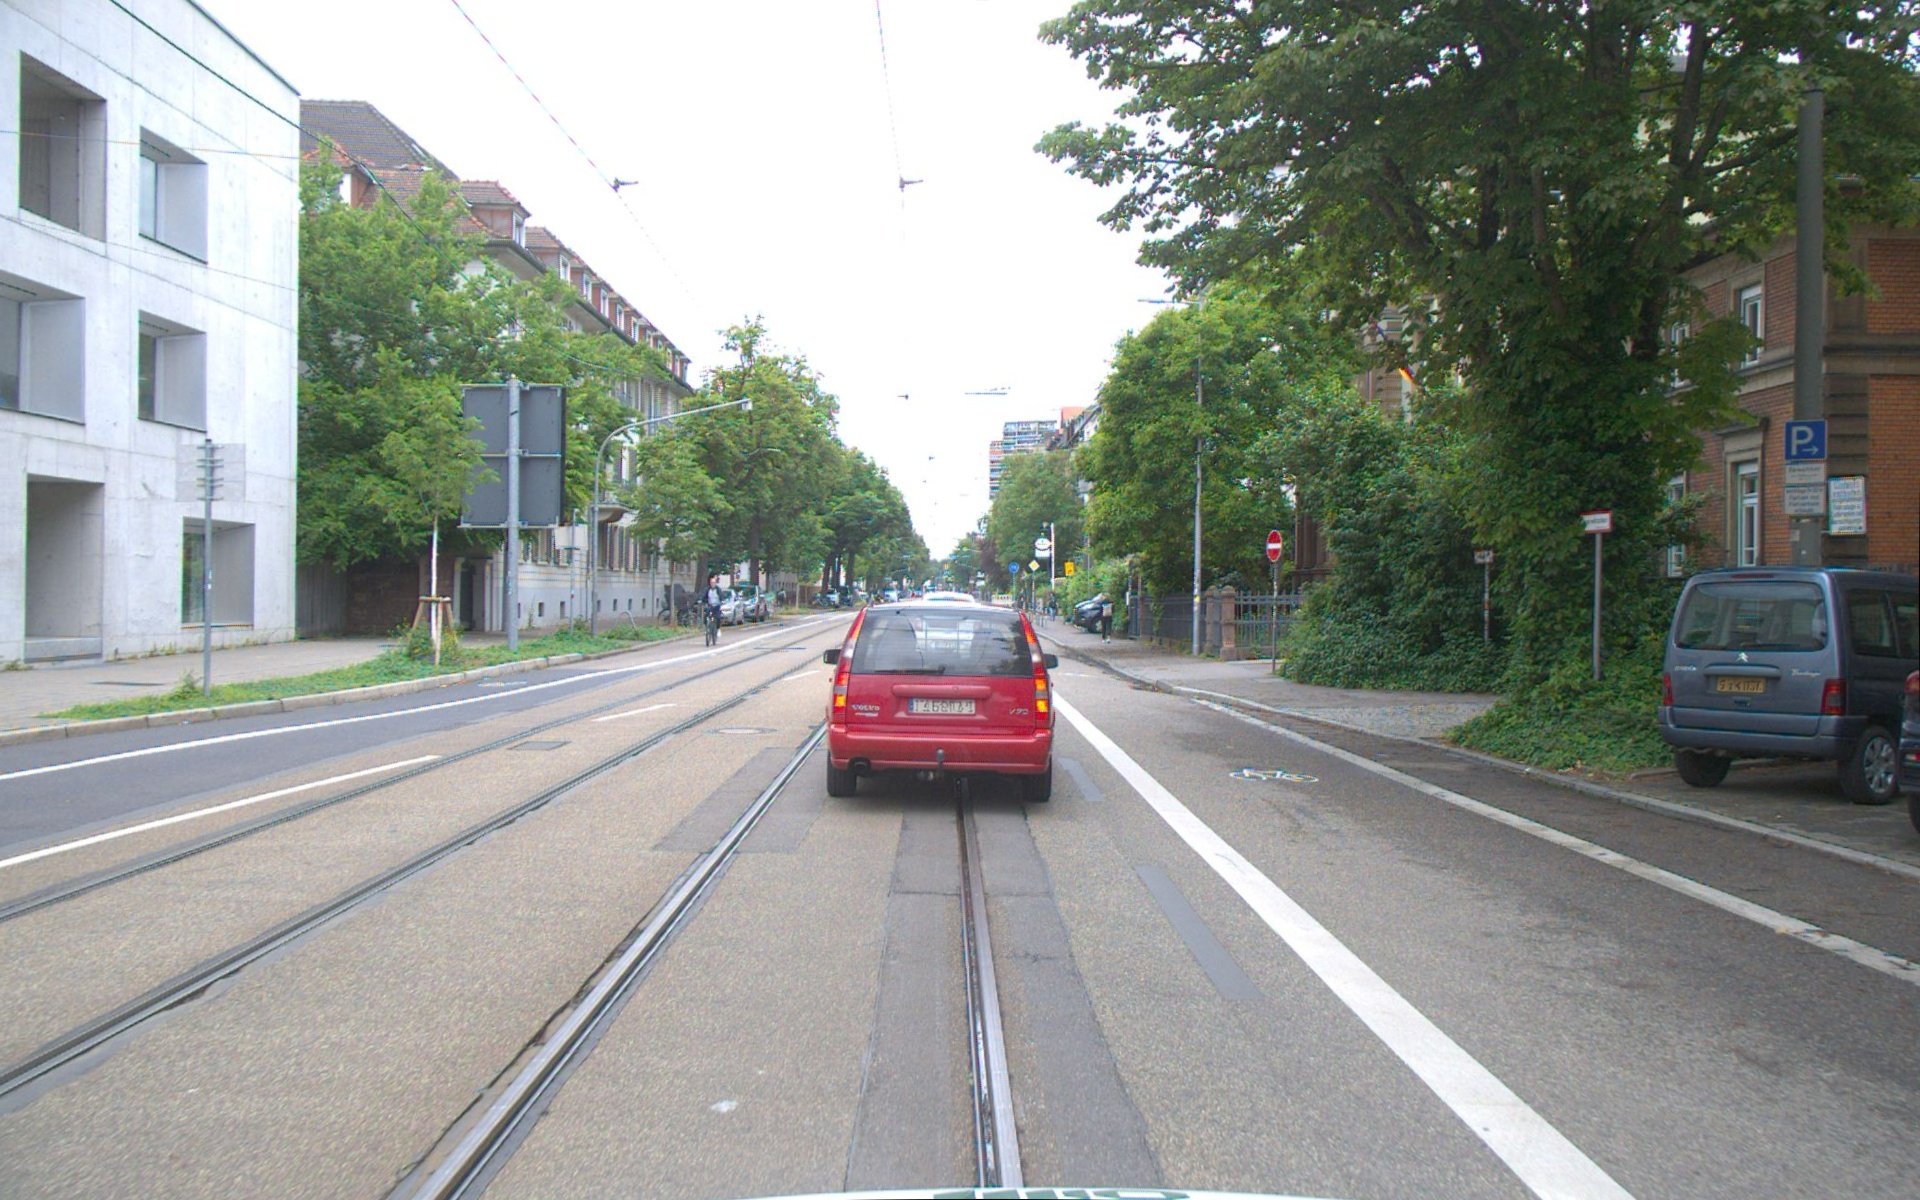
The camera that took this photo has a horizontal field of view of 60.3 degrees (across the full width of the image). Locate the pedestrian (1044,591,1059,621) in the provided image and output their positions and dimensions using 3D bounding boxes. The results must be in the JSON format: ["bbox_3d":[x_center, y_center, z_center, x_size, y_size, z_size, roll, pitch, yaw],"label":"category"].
[{"bbox_3d":[5.168,0.321,93.582,0.777,1.665,0.836,1,0,-1],"label":"pedestrian"}]

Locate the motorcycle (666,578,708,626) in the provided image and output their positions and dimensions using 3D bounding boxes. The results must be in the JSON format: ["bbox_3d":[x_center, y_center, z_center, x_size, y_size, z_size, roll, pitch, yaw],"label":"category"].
[{"bbox_3d":[-9.838,0.056,59.709,0.815,1.672,2.482,1,0,7],"label":"motorcycle"}]

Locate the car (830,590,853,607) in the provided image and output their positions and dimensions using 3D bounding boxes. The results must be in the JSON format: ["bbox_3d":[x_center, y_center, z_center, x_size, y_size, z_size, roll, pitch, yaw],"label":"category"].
[{"bbox_3d":[-10.967,-0.142,153.016,1.741,1.537,4.237,1,0,0],"label":"car"}]

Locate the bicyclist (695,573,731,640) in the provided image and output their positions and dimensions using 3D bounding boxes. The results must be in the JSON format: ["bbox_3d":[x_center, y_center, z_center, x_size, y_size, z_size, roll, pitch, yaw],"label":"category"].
[{"bbox_3d":[-6.856,0.176,45.954,0.775,1.815,1.147,-1,0,-1],"label":"bicyclist"}]

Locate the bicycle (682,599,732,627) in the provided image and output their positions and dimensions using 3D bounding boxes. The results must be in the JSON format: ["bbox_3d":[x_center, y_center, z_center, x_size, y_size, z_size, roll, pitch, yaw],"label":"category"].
[{"bbox_3d":[-9.708,0.497,63.588,1.857,1.045,0.563,1,0,-5],"label":"bicycle"}]

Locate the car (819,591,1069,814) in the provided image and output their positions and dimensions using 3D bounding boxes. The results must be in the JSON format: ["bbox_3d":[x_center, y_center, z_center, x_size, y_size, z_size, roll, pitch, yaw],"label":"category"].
[{"bbox_3d":[-0.106,0.672,12.881,1.654,1.466,3.743,0,0,0],"label":"car"}]

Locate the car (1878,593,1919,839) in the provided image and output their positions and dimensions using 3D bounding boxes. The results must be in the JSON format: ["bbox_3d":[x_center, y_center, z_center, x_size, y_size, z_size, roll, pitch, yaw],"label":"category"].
[{"bbox_3d":[8.094,0.731,11.193,3.956,1.566,1.841,-1,1,-36],"label":"car"}]

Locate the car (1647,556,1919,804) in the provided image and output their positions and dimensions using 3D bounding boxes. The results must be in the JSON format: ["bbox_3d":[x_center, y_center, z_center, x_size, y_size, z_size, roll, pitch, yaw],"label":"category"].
[{"bbox_3d":[7.820,0.573,14.117,3.791,1.852,1.787,0,1,-32],"label":"car"}]

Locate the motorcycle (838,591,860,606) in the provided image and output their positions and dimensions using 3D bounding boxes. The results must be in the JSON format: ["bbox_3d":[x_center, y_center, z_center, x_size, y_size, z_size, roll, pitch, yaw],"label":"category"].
[{"bbox_3d":[-11.671,-0.202,174.368,2.225,1.538,0.924,0,-2,34],"label":"motorcycle"}]

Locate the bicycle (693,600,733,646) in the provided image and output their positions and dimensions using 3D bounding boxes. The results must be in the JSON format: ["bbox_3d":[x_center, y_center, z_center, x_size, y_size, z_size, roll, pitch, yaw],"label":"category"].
[{"bbox_3d":[-6.854,0.620,45.984,0.775,1.207,2.010,-1,0,0],"label":"bicycle"}]

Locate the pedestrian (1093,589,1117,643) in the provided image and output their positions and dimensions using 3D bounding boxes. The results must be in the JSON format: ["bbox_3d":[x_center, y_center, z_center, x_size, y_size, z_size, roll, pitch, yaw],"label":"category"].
[{"bbox_3d":[4.733,0.516,54.006,0.611,1.700,0.959,-2,0,-2],"label":"pedestrian"}]

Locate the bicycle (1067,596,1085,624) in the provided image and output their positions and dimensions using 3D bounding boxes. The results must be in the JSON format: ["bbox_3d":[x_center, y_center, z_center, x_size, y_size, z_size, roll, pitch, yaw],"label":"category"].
[{"bbox_3d":[5.091,0.442,72.594,0.620,1.147,1.812,-2,1,-1],"label":"bicycle"}]

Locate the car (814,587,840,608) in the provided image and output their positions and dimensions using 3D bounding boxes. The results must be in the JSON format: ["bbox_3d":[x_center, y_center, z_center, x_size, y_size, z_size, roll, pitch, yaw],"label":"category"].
[{"bbox_3d":[-10.754,-0.215,134.107,1.859,1.684,4.224,1,0,-2],"label":"car"}]

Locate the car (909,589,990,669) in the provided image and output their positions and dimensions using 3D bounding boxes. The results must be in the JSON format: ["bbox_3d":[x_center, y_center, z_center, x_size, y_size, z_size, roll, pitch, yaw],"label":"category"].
[{"bbox_3d":[-0.184,0.598,36.580,1.683,1.653,3.941,1,0,1],"label":"car"}]

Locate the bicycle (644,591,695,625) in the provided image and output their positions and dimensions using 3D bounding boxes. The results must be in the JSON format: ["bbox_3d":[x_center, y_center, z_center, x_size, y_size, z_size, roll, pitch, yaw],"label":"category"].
[{"bbox_3d":[-10.180,0.282,57.907,1.705,1.148,0.518,1,0,17],"label":"bicycle"}]

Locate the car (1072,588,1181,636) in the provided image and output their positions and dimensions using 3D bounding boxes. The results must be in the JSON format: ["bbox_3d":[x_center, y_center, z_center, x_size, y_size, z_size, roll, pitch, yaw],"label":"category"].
[{"bbox_3d":[6.636,0.471,66.277,4.192,1.840,1.824,-1,0,1],"label":"car"}]

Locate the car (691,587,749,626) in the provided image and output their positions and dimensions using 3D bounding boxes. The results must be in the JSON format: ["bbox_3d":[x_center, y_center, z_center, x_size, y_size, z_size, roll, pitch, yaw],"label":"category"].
[{"bbox_3d":[-9.685,0.255,67.073,1.775,1.491,4.613,1,0,-2],"label":"car"}]

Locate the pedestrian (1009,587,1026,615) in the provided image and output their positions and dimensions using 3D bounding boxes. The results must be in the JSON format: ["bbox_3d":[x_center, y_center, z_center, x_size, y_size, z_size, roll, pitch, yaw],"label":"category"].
[{"bbox_3d":[3.541,0.046,101.570,0.854,1.685,0.909,1,0,12],"label":"pedestrian"}]

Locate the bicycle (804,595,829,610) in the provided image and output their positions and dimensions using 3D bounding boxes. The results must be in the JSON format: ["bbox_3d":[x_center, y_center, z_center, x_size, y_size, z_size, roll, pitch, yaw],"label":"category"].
[{"bbox_3d":[-11.272,0.195,129.656,1.883,1.140,0.624,2,0,-1],"label":"bicycle"}]

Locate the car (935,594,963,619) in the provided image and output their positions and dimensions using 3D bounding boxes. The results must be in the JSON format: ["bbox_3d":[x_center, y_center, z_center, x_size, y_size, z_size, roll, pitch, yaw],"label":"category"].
[{"bbox_3d":[-0.771,0.411,112.984,1.706,1.634,3.998,1,0,-3],"label":"car"}]

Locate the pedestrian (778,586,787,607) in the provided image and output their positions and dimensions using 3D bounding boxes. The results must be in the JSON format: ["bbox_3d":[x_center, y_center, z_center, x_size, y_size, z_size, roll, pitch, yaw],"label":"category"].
[{"bbox_3d":[-13.116,-0.251,122.234,0.553,1.493,0.722,0,0,-1],"label":"pedestrian"}]

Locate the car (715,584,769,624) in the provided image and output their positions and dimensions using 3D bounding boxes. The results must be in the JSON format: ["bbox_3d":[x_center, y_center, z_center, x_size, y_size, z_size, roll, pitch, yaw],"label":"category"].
[{"bbox_3d":[-9.915,0.164,75.569,1.800,1.690,4.293,3,0,0],"label":"car"}]
